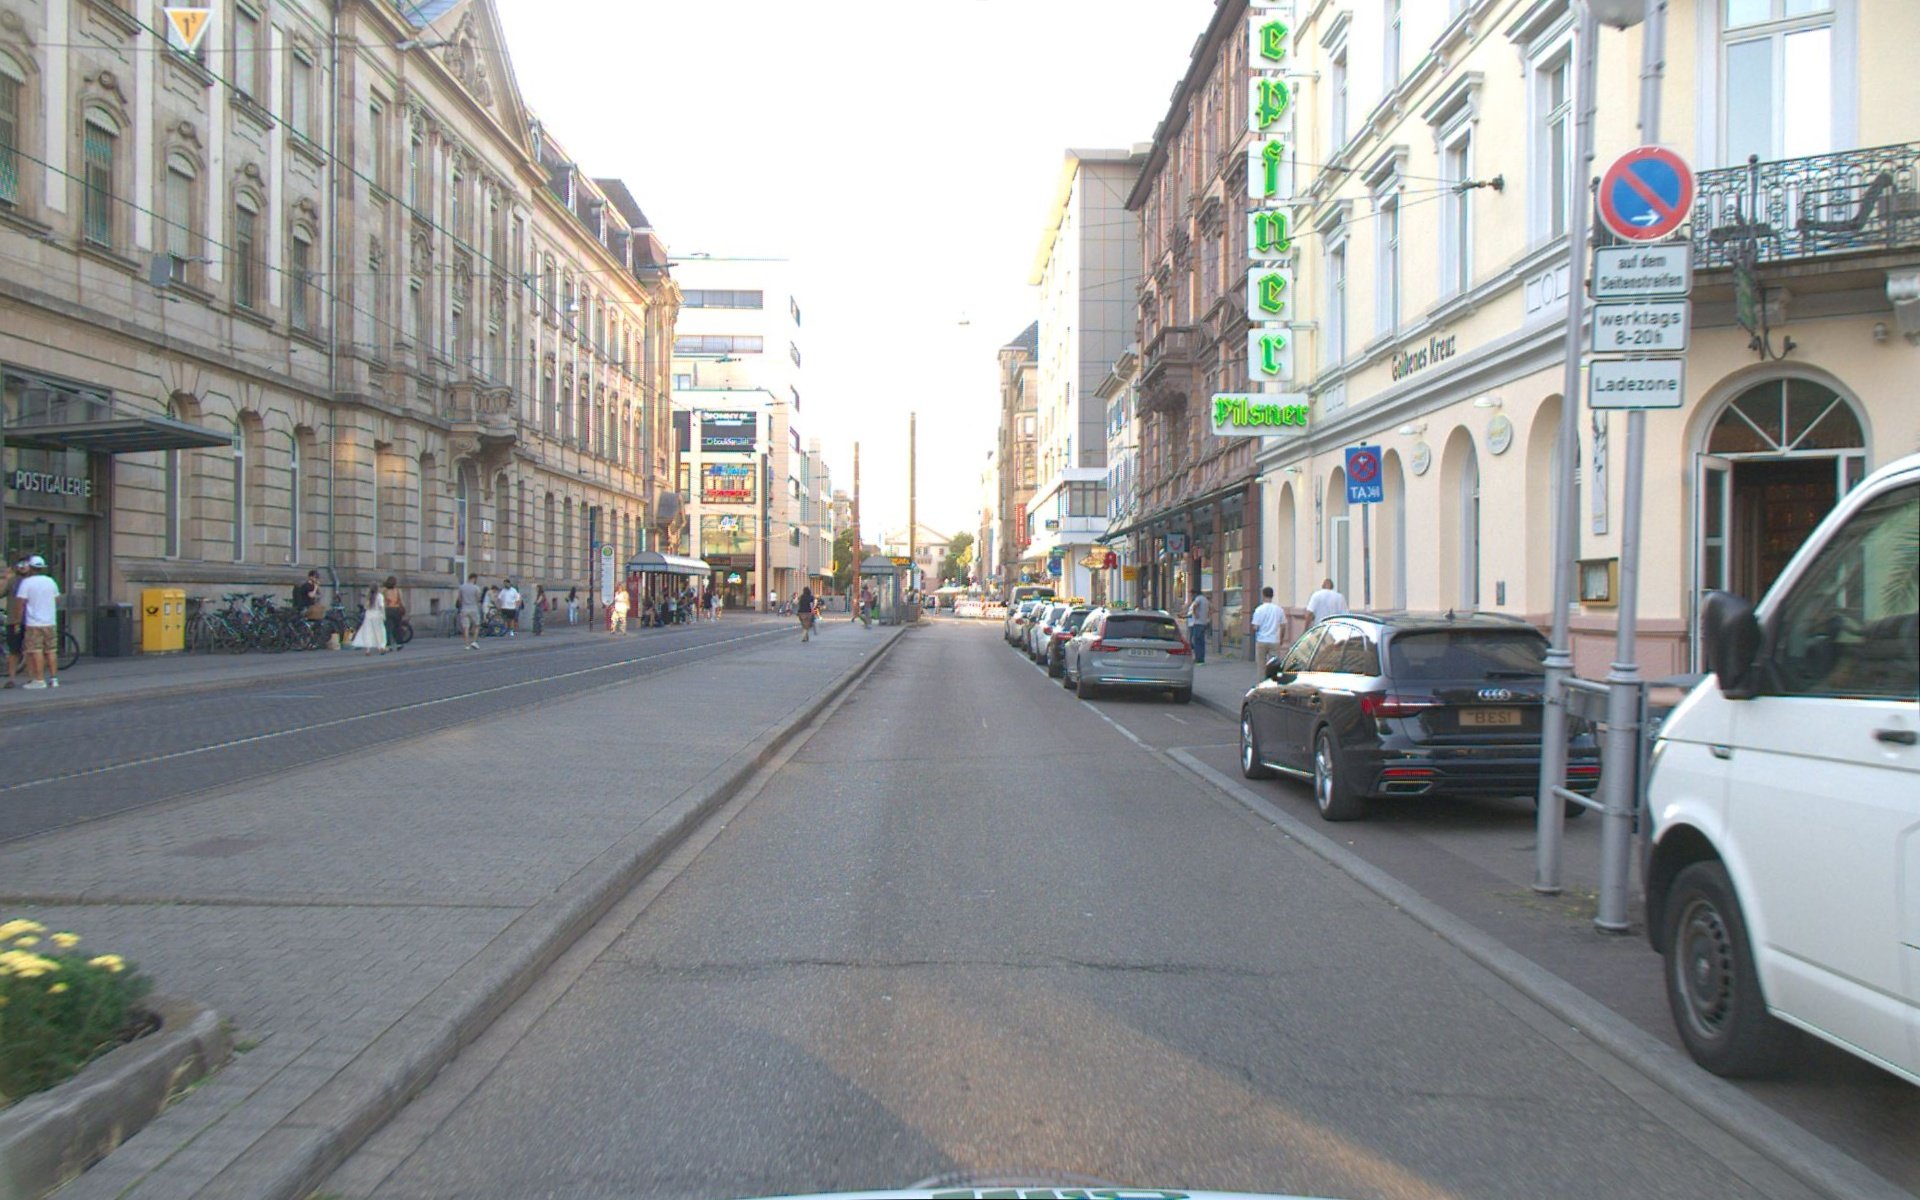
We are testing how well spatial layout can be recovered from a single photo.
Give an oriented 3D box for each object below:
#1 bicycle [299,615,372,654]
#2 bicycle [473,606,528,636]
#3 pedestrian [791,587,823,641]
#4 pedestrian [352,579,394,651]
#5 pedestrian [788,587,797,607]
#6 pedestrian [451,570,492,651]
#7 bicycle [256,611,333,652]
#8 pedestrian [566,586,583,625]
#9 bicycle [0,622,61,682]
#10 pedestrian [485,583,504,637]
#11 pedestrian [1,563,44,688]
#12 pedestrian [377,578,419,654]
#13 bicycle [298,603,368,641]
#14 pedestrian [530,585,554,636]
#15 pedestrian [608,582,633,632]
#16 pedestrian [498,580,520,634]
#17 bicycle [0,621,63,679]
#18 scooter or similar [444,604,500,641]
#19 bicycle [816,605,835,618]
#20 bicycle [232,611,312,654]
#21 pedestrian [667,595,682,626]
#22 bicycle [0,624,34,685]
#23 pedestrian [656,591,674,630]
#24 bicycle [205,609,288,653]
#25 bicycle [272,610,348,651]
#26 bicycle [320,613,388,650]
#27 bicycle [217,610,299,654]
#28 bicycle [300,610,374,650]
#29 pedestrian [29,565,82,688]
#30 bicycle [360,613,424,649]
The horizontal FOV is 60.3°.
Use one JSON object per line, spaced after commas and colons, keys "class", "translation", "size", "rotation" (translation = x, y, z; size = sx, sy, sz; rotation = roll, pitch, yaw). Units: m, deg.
{"class": "bicycle", "translation": [-14.812, 0.810, 39.255], "size": [1.542, 0.889, 0.451], "rotation": [1, -1, 4]}
{"class": "bicycle", "translation": [-14.309, 0.656, 51.530], "size": [1.542, 0.889, 0.451], "rotation": [1, -1, 4]}
{"class": "pedestrian", "translation": [-4.362, 0.393, 47.222], "size": [0.829, 1.527, 0.901], "rotation": [1, 0, -1]}
{"class": "pedestrian", "translation": [-12.403, 0.312, 34.975], "size": [0.678, 1.492, 0.556], "rotation": [1, 0, -1]}
{"class": "pedestrian", "translation": [-14.225, -0.233, 140.401], "size": [0.635, 1.703, 0.530], "rotation": [0, 0, 7]}
{"class": "pedestrian", "translation": [-11.321, 0.241, 38.343], "size": [0.678, 1.844, 0.814], "rotation": [1, 0, -1]}
{"class": "bicycle", "translation": [-14.929, 0.704, 37.117], "size": [1.542, 0.889, 0.451], "rotation": [1, -1, 4]}
{"class": "pedestrian", "translation": [-16.155, 0.234, 69.243], "size": [0.648, 1.589, 0.677], "rotation": [1, 0, -15]}
{"class": "bicycle", "translation": [-14.791, 0.797, 25.562], "size": [1.542, 0.889, 0.451], "rotation": [1, -1, 4]}
{"class": "pedestrian", "translation": [-14.653, 0.311, 52.123], "size": [0.328, 1.671, 0.606], "rotation": [1, -1, 6]}
{"class": "pedestrian", "translation": [-12.928, 0.354, 22.810], "size": [0.369, 1.702, 0.491], "rotation": [2, -1, -18]}
{"class": "pedestrian", "translation": [-12.981, 0.362, 38.198], "size": [0.678, 1.742, 0.815], "rotation": [1, 0, -1]}
{"class": "bicycle", "translation": [-15.314, 0.534, 40.401], "size": [1.542, 0.889, 0.451], "rotation": [1, -1, 4]}
{"class": "pedestrian", "translation": [-13.655, 0.339, 54.072], "size": [0.559, 1.633, 0.440], "rotation": [1, -1, 25]}
{"class": "pedestrian", "translation": [-10.908, 0.226, 53.152], "size": [0.646, 1.589, 0.679], "rotation": [1, 0, -1]}
{"class": "pedestrian", "translation": [-14.211, 0.229, 52.119], "size": [0.466, 1.671, 0.563], "rotation": [1, -1, 5]}
{"class": "bicycle", "translation": [-15.248, 0.793, 26.465], "size": [1.542, 0.889, 0.451], "rotation": [1, -1, 4]}
{"class": "scooter or similar", "translation": [-14.618, 0.673, 49.535], "size": [1.514, 1.087, 0.451], "rotation": [1, -1, 4]}
{"class": "bicycle", "translation": [-12.107, 1.018, 149.008], "size": [1.661, 1.141, 0.451], "rotation": [1, -1, 1]}
{"class": "bicycle", "translation": [-14.982, 0.700, 36.020], "size": [1.542, 0.889, 0.451], "rotation": [1, -1, 4]}
{"class": "pedestrian", "translation": [-12.635, 0.475, 73.141], "size": [0.507, 1.350, 0.638], "rotation": [0, -1, 3]}
{"class": "bicycle", "translation": [-14.654, 0.791, 24.570], "size": [1.542, 0.889, 0.451], "rotation": [1, -1, 4]}
{"class": "pedestrian", "translation": [-12.616, 0.453, 70.705], "size": [0.507, 1.679, 0.638], "rotation": [0, -1, 21]}
{"class": "bicycle", "translation": [-14.997, 0.650, 34.789], "size": [1.542, 0.889, 0.451], "rotation": [1, -1, 4]}
{"class": "bicycle", "translation": [-14.831, 0.695, 37.755], "size": [1.542, 0.889, 0.451], "rotation": [1, -1, 4]}
{"class": "bicycle", "translation": [-15.382, 0.801, 42.020], "size": [1.542, 0.889, 0.451], "rotation": [1, -1, 4]}
{"class": "bicycle", "translation": [-15.037, 0.684, 35.434], "size": [1.542, 0.889, 0.451], "rotation": [1, -1, 4]}
{"class": "bicycle", "translation": [-14.503, 0.702, 38.523], "size": [1.542, 0.889, 0.451], "rotation": [1, -1, 4]}
{"class": "pedestrian", "translation": [-12.389, 0.367, 22.648], "size": [0.369, 1.659, 0.491], "rotation": [1, -1, 39]}
{"class": "bicycle", "translation": [-15.071, 0.818, 43.898], "size": [1.542, 0.889, 0.451], "rotation": [1, -1, 4]}
